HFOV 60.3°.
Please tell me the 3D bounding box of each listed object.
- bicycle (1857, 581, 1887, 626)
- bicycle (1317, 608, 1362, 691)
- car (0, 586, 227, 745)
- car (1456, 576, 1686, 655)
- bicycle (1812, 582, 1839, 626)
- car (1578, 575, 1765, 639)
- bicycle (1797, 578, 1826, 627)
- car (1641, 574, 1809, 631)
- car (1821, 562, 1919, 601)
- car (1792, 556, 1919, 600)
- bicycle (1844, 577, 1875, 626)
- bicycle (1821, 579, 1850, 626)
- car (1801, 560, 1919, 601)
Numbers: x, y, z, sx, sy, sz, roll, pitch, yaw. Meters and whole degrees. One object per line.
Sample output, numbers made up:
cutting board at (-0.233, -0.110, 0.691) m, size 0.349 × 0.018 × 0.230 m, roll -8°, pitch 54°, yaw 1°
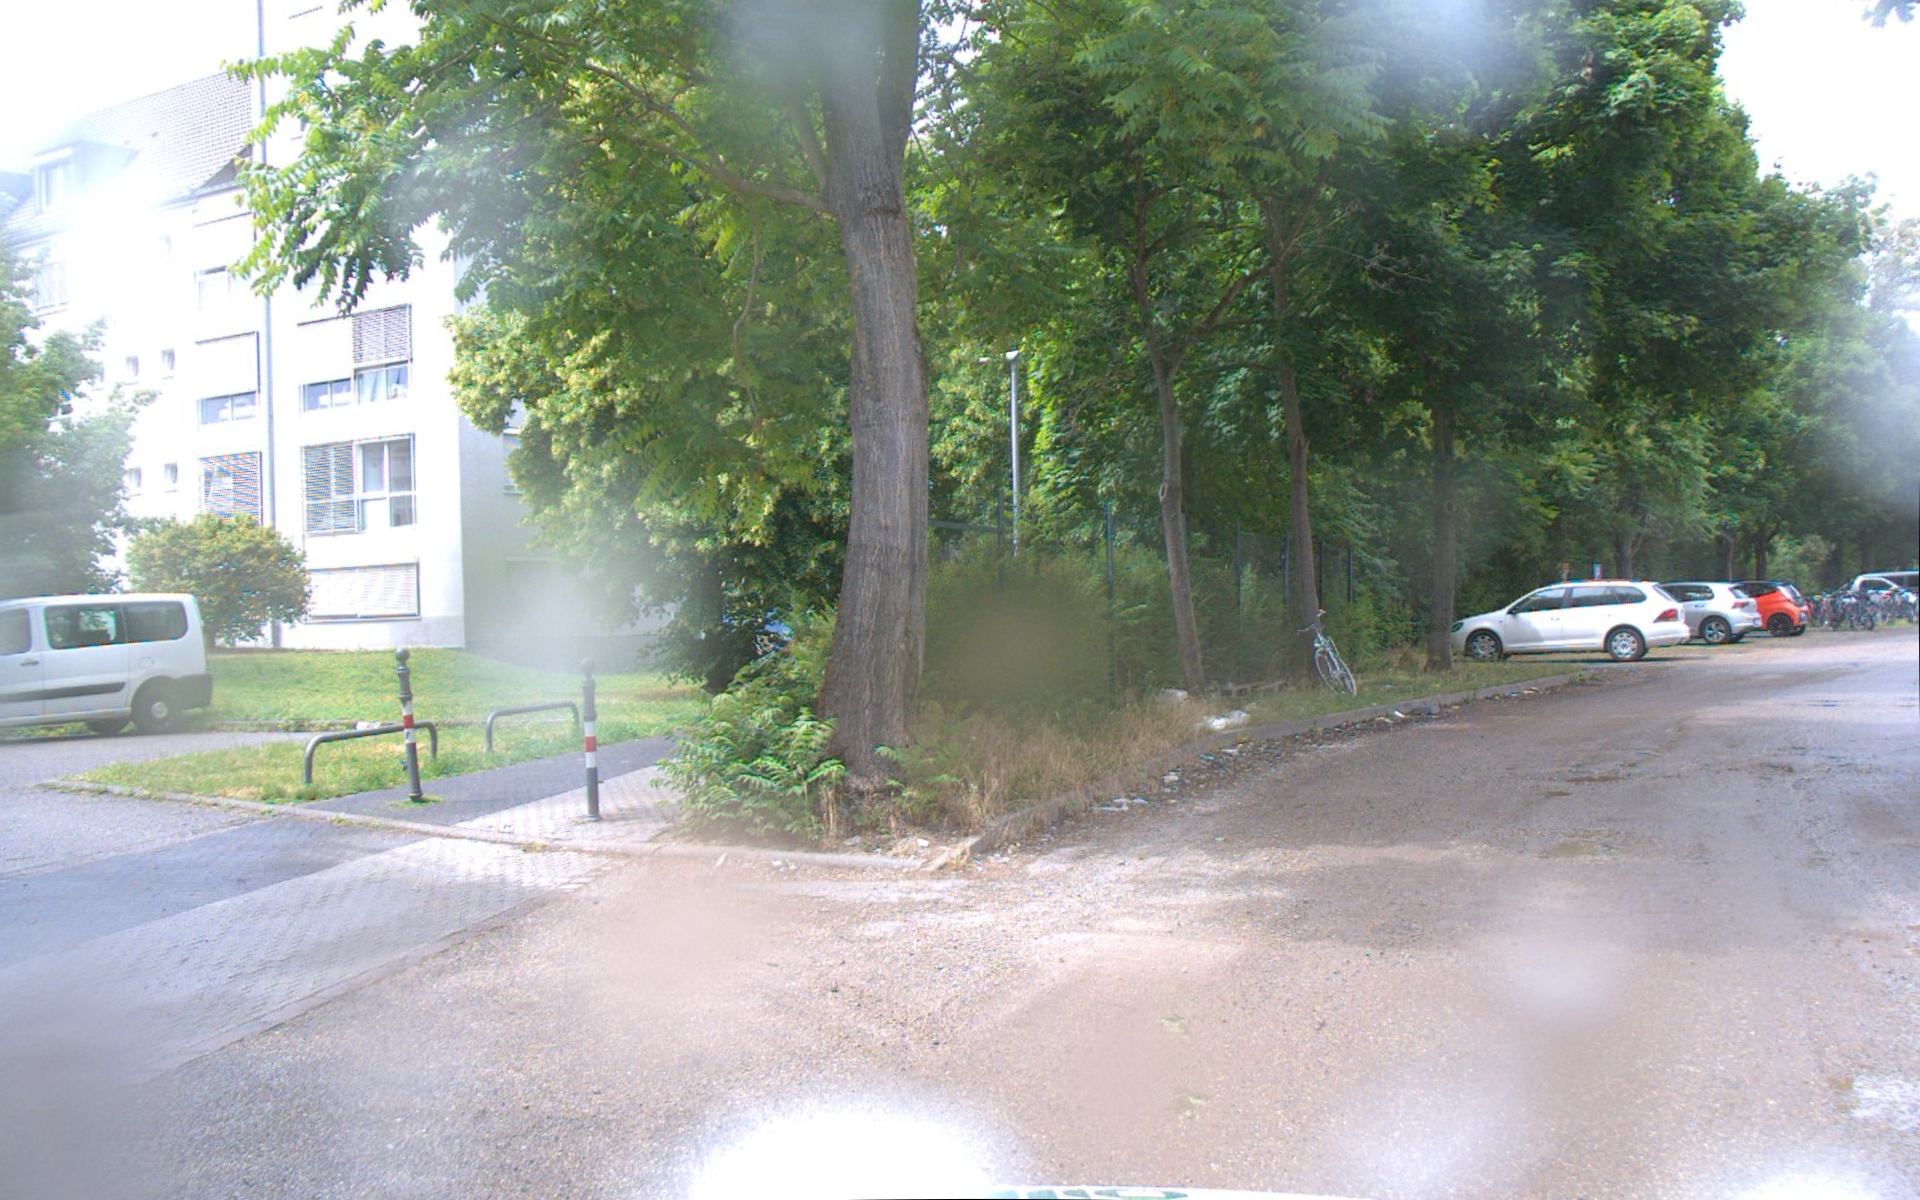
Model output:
bicycle at (27.525, 0.125, 49.944) m, size 0.584 × 1.331 × 2.667 m, roll -1°, pitch -1°, yaw 25°
bicycle at (4.437, 0.563, 19.278) m, size 0.457 × 0.894 × 1.572 m, roll -1°, pitch 1°, yaw 15°
car at (-12.826, 0.881, 22.416) m, size 1.963 × 2.049 × 4.927 m, roll -3°, pitch -1°, yaw 40°
car at (11.743, 0.321, 31.791) m, size 3.956 × 1.434 × 1.979 m, roll -1°, pitch -1°, yaw 27°
bicycle at (26.422, 0.140, 50.506) m, size 0.584 × 1.331 × 2.667 m, roll -1°, pitch -1°, yaw 25°
car at (16.866, 0.191, 39.232) m, size 3.956 × 1.434 × 1.979 m, roll -1°, pitch -1°, yaw 27°
bicycle at (24.153, 0.087, 46.933) m, size 0.584 × 1.331 × 2.667 m, roll -1°, pitch -1°, yaw 25°
car at (20.302, 0.095, 43.928) m, size 3.956 × 1.434 × 1.979 m, roll -1°, pitch -1°, yaw 27°
car at (36.207, -0.703, 64.982) m, size 3.968 × 1.434 × 1.973 m, roll -1°, pitch -1°, yaw 37°
car at (32.180, -0.773, 59.232) m, size 3.968 × 1.434 × 1.973 m, roll -1°, pitch -1°, yaw 37°
bicycle at (25.240, 0.074, 46.435) m, size 0.584 × 1.331 × 2.667 m, roll -1°, pitch -1°, yaw 25°
bicycle at (24.697, 0.099, 46.678) m, size 0.584 × 1.289 × 2.667 m, roll -1°, pitch -1°, yaw 25°
car at (34.396, -0.702, 62.975) m, size 3.968 × 1.434 × 1.973 m, roll -1°, pitch -1°, yaw 37°
